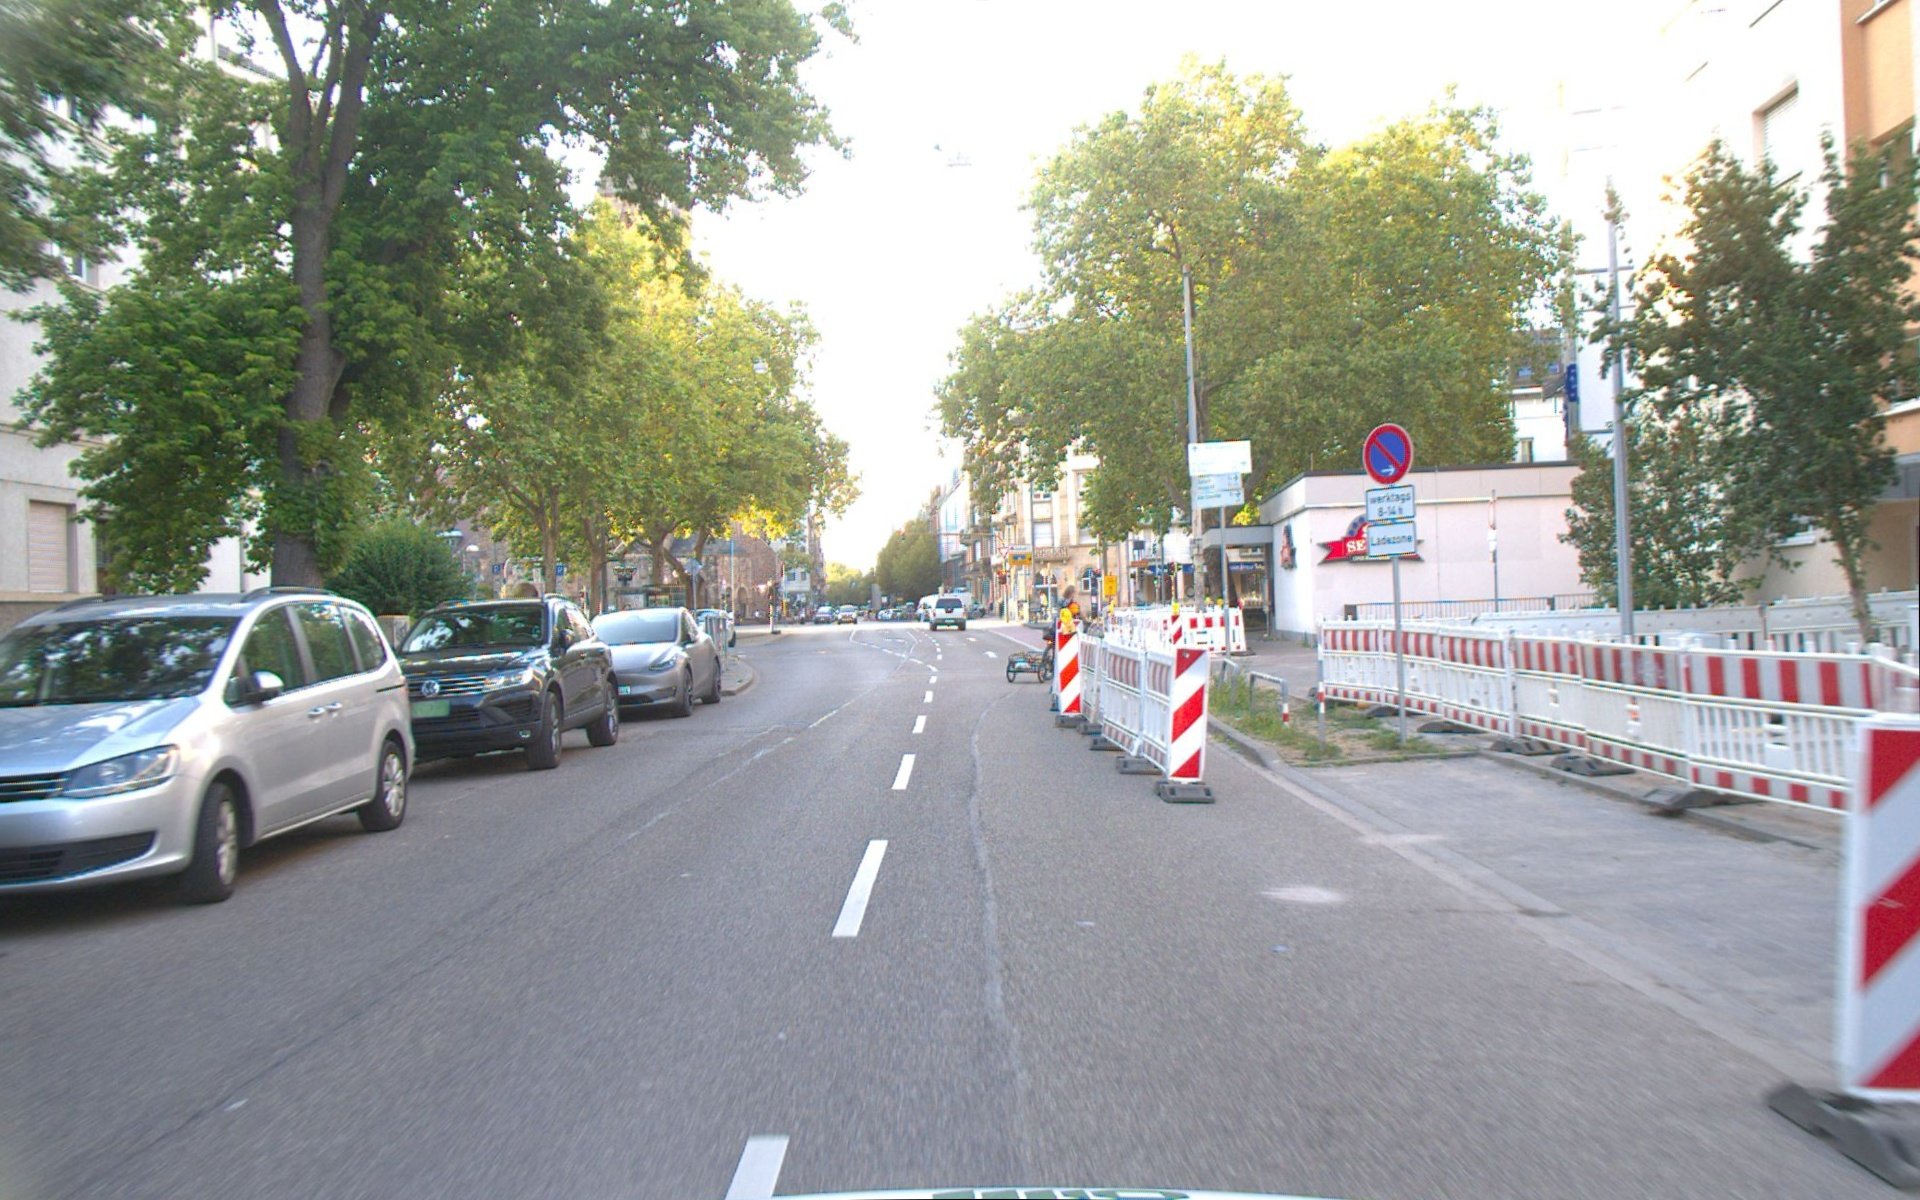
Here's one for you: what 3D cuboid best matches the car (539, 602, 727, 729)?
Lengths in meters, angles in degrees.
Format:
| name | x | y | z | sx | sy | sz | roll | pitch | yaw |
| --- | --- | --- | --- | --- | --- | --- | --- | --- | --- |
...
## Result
| name | x | y | z | sx | sy | sz | roll | pitch | yaw |
| --- | --- | --- | --- | --- | --- | --- | --- | --- | --- |
| car | -4.893 | 0.927 | 25.417 | 1.914 | 1.645 | 4.604 | -4 | 0 | 0 |

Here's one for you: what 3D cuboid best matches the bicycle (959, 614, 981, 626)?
| name | x | y | z | sx | sy | sz | roll | pitch | yaw |
| --- | --- | --- | --- | --- | --- | --- | --- | --- | --- |
| bicycle | 0.882 | 1.766 | 145.357 | 1.876 | 0.985 | 0.545 | -2 | 0 | -2 |

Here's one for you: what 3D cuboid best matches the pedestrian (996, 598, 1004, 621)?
| name | x | y | z | sx | sy | sz | roll | pitch | yaw |
| --- | --- | --- | --- | --- | --- | --- | --- | --- | --- |
| pedestrian | 3.309 | 0.796 | 137.498 | 0.581 | 1.919 | 0.647 | -2 | -1 | 2 |

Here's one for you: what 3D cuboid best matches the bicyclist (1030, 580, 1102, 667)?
| name | x | y | z | sx | sy | sz | roll | pitch | yaw |
| --- | --- | --- | --- | --- | --- | --- | --- | --- | --- |
| bicyclist | 2.117 | 0.461 | 32.907 | 0.921 | 1.609 | 1.144 | -5 | -1 | 30 |

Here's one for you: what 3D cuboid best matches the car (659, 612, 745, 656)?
| name | x | y | z | sx | sy | sz | roll | pitch | yaw |
| --- | --- | --- | --- | --- | --- | --- | --- | --- | --- |
| car | -9.734 | 1.269 | 62.781 | 1.951 | 1.545 | 4.003 | -2 | 0 | 11 |

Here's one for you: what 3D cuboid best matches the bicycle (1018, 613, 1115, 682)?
| name | x | y | z | sx | sy | sz | roll | pitch | yaw |
| --- | --- | --- | --- | --- | --- | --- | --- | --- | --- |
| bicycle | 2.143 | 0.929 | 32.886 | 0.921 | 1.192 | 2.355 | -5 | -1 | 29 |

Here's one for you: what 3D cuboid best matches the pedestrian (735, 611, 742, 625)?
| name | x | y | z | sx | sy | sz | roll | pitch | yaw |
| --- | --- | --- | --- | --- | --- | --- | --- | --- | --- |
| pedestrian | -20.977 | 1.678 | 156.626 | 0.491 | 1.303 | 0.489 | -2 | -1 | -24 |

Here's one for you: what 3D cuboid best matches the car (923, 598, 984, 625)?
| name | x | y | z | sx | sy | sz | roll | pitch | yaw |
| --- | --- | --- | --- | --- | --- | --- | --- | --- | --- |
| car | -0.564 | 1.023 | 151.596 | 5.777 | 2.328 | 2.039 | -2 | 0 | -44 |

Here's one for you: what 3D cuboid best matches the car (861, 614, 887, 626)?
| name | x | y | z | sx | sy | sz | roll | pitch | yaw |
| --- | --- | --- | --- | --- | --- | --- | --- | --- | --- |
| car | -13.409 | 3.099 | 258.711 | 3.910 | 1.847 | 1.997 | -2 | 0 | -6 |

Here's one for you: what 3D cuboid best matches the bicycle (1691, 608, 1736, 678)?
| name | x | y | z | sx | sy | sz | roll | pitch | yaw |
| --- | --- | --- | --- | --- | --- | --- | --- | --- | --- |
| bicycle | 11.415 | 0.638 | 25.081 | 0.533 | 0.985 | 1.814 | -2 | 0 | 23 |

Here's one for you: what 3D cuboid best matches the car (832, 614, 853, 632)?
| name | x | y | z | sx | sy | sz | roll | pitch | yaw |
| --- | --- | --- | --- | --- | --- | --- | --- | --- | --- |
| car | -11.068 | 2.152 | 156.026 | 1.748 | 1.680 | 3.814 | 0 | -1 | -8 |

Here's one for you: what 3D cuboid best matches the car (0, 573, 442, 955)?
| name | x | y | z | sx | sy | sz | roll | pitch | yaw |
| --- | --- | --- | --- | --- | --- | --- | --- | --- | --- |
| car | -4.806 | 0.817 | 10.065 | 1.809 | 1.720 | 4.857 | -4 | 0 | -2 |

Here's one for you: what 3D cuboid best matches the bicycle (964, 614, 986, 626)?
| name | x | y | z | sx | sy | sz | roll | pitch | yaw |
| --- | --- | --- | --- | --- | --- | --- | --- | --- | --- |
| bicycle | 1.341 | 1.773 | 146.148 | 1.874 | 0.985 | 0.546 | -2 | -1 | 14 |

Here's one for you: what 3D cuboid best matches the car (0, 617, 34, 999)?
| name | x | y | z | sx | sy | sz | roll | pitch | yaw |
| --- | --- | --- | --- | --- | --- | --- | --- | --- | --- |
| car | -4.856 | 0.889 | 4.736 | 1.696 | 1.523 | 4.272 | -4 | 0 | 4 |

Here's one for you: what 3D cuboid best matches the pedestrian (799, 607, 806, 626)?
| name | x | y | z | sx | sy | sz | roll | pitch | yaw |
| --- | --- | --- | --- | --- | --- | --- | --- | --- | --- |
| pedestrian | -16.431 | 1.698 | 172.221 | 0.580 | 1.919 | 0.554 | -2 | -1 | 9 |

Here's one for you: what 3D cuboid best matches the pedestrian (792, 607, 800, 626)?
| name | x | y | z | sx | sy | sz | roll | pitch | yaw |
| --- | --- | --- | --- | --- | --- | --- | --- | --- | --- |
| pedestrian | -17.075 | 1.727 | 172.254 | 0.580 | 1.919 | 0.585 | -2 | -1 | 8 |

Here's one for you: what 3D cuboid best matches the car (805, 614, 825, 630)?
| name | x | y | z | sx | sy | sz | roll | pitch | yaw |
| --- | --- | --- | --- | --- | --- | --- | --- | --- | --- |
| car | -15.607 | 2.381 | 177.804 | 1.956 | 1.680 | 3.814 | 0 | -1 | -8 |

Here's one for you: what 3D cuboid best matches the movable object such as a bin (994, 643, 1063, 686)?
| name | x | y | z | sx | sy | sz | roll | pitch | yaw |
| --- | --- | --- | --- | --- | --- | --- | --- | --- | --- |
| movable object such as a bin | 1.302 | 1.222 | 31.449 | 0.921 | 0.701 | 0.992 | -5 | -1 | 30 |

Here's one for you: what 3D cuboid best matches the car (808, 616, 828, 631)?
| name | x | y | z | sx | sy | sz | roll | pitch | yaw |
| --- | --- | --- | --- | --- | --- | --- | --- | --- | --- |
| car | -15.930 | 2.634 | 185.567 | 1.956 | 1.680 | 3.814 | 0 | -1 | -8 |

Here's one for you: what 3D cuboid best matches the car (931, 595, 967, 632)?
| name | x | y | z | sx | sy | sz | roll | pitch | yaw |
| --- | --- | --- | --- | --- | --- | --- | --- | --- | --- |
| car | -0.618 | 0.744 | 89.192 | 1.828 | 1.846 | 3.999 | -3 | -1 | -1 |

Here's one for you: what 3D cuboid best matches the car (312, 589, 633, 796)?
| name | x | y | z | sx | sy | sz | roll | pitch | yaw |
| --- | --- | --- | --- | --- | --- | --- | --- | --- | --- |
| car | -4.911 | 0.854 | 17.452 | 1.914 | 1.748 | 4.770 | -4 | 0 | -1 |

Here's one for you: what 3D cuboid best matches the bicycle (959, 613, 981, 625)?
| name | x | y | z | sx | sy | sz | roll | pitch | yaw |
| --- | --- | --- | --- | --- | --- | --- | --- | --- | --- |
| bicycle | 0.853 | 1.647 | 145.079 | 1.876 | 0.985 | 0.545 | -2 | 0 | -2 |

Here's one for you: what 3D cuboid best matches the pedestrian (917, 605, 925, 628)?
| name | x | y | z | sx | sy | sz | roll | pitch | yaw |
| --- | --- | --- | --- | --- | --- | --- | --- | --- | --- |
| pedestrian | -3.302 | 1.392 | 138.755 | 0.581 | 1.919 | 0.647 | -2 | -1 | 2 |

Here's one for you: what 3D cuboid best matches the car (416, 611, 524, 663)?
| name | x | y | z | sx | sy | sz | roll | pitch | yaw |
| --- | --- | --- | --- | --- | --- | --- | --- | --- | --- |
| car | -19.665 | 1.458 | 66.588 | 1.781 | 1.831 | 4.633 | -2 | 0 | 19 |
